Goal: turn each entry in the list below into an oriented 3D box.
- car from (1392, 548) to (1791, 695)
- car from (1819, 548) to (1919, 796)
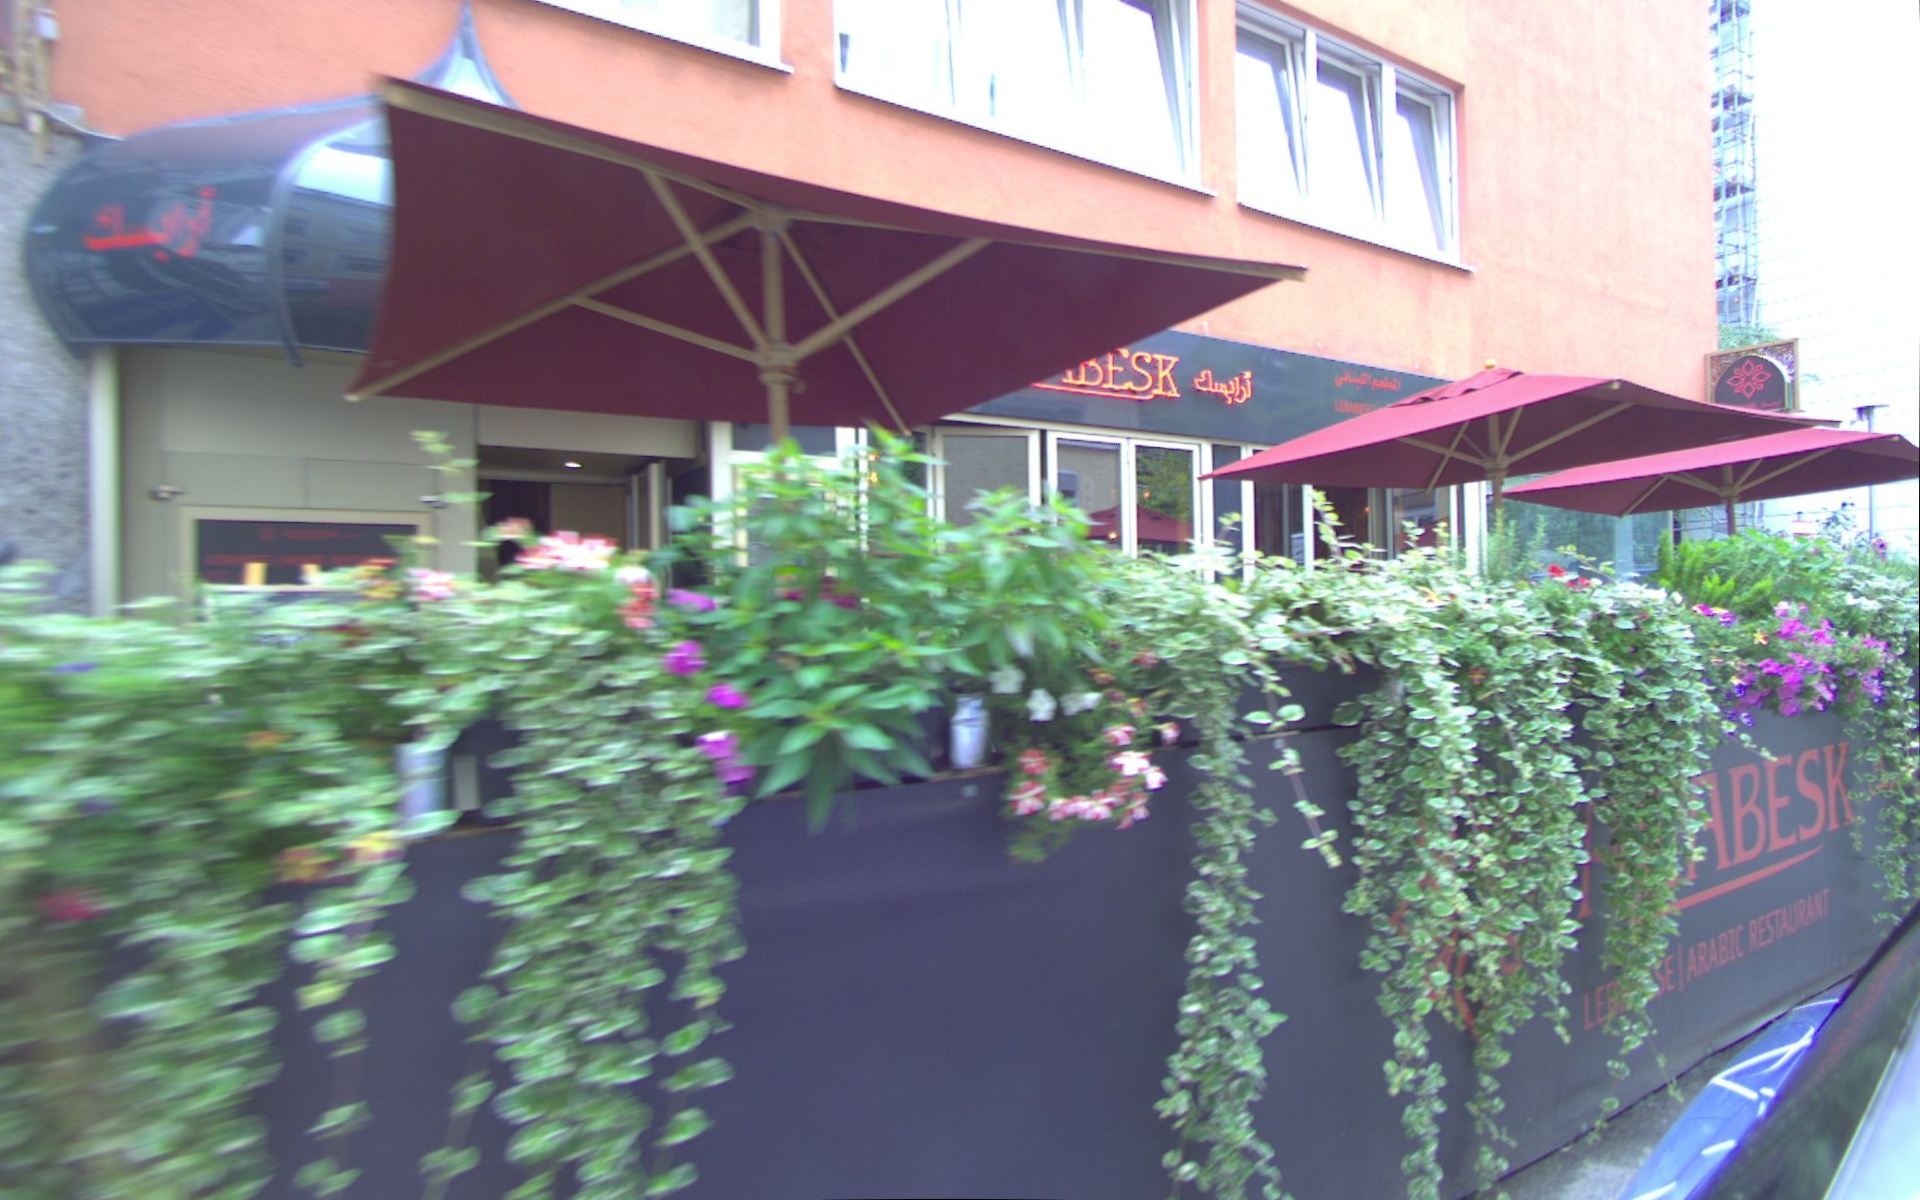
[{"bbox_3d":[8.706,0.239,14.395,1.804,1.742,4.479,-1,0,-32],"label":"car"},{"bbox_3d":[8.730,0.463,7.830,4.302,1.732,1.831,-1,-1,-31],"label":"car"}]
